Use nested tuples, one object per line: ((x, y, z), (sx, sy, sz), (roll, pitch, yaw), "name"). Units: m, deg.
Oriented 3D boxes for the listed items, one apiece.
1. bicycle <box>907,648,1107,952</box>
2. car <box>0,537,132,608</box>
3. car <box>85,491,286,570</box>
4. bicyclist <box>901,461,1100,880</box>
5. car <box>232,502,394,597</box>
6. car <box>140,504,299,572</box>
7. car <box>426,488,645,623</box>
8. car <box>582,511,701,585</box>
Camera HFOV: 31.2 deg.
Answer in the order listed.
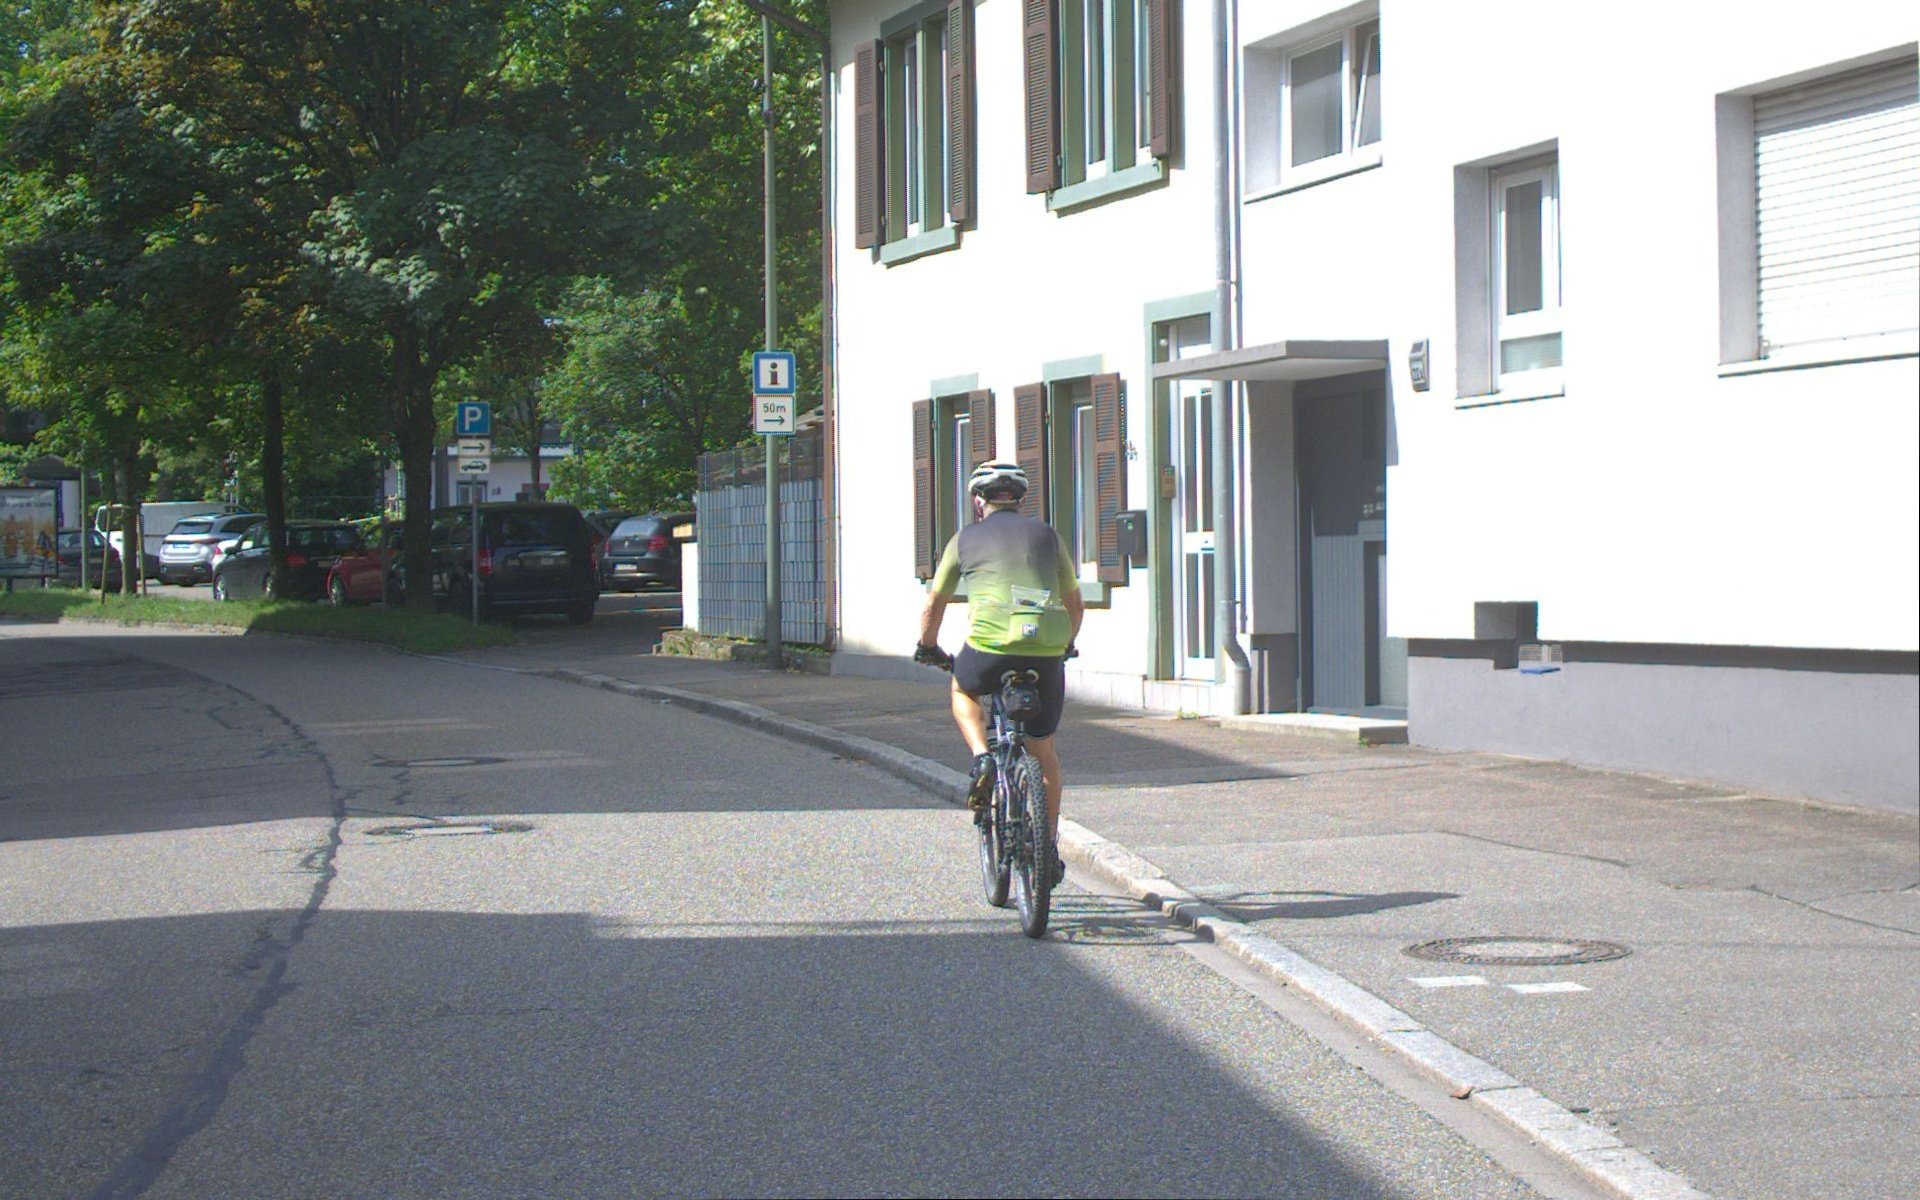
((0.157, 0.729, 13.093), (0.698, 1.032, 1.471), (1, 1, -1), "bicycle")
((-19.067, -0.602, 72.892), (1.673, 1.463, 3.409), (-1, 1, -38), "car")
((-18.829, -1.700, 83.761), (1.997, 1.848, 4.692), (0, 1, 33), "car")
((0.145, 0.256, 13.024), (0.685, 1.526, 0.715), (-1, 0, -2), "bicyclist")
((-11.308, -0.909, 59.887), (1.708, 1.537, 4.001), (-2, 3, -27), "car")
((-17.192, -1.444, 79.994), (1.811, 1.546, 3.996), (0, 1, 19), "car")
((-6.087, -0.675, 48.977), (1.822, 1.785, 4.001), (-2, 3, -27), "car")
((-5.828, -0.950, 62.545), (1.582, 1.253, 3.859), (-2, 2, -14), "car")
